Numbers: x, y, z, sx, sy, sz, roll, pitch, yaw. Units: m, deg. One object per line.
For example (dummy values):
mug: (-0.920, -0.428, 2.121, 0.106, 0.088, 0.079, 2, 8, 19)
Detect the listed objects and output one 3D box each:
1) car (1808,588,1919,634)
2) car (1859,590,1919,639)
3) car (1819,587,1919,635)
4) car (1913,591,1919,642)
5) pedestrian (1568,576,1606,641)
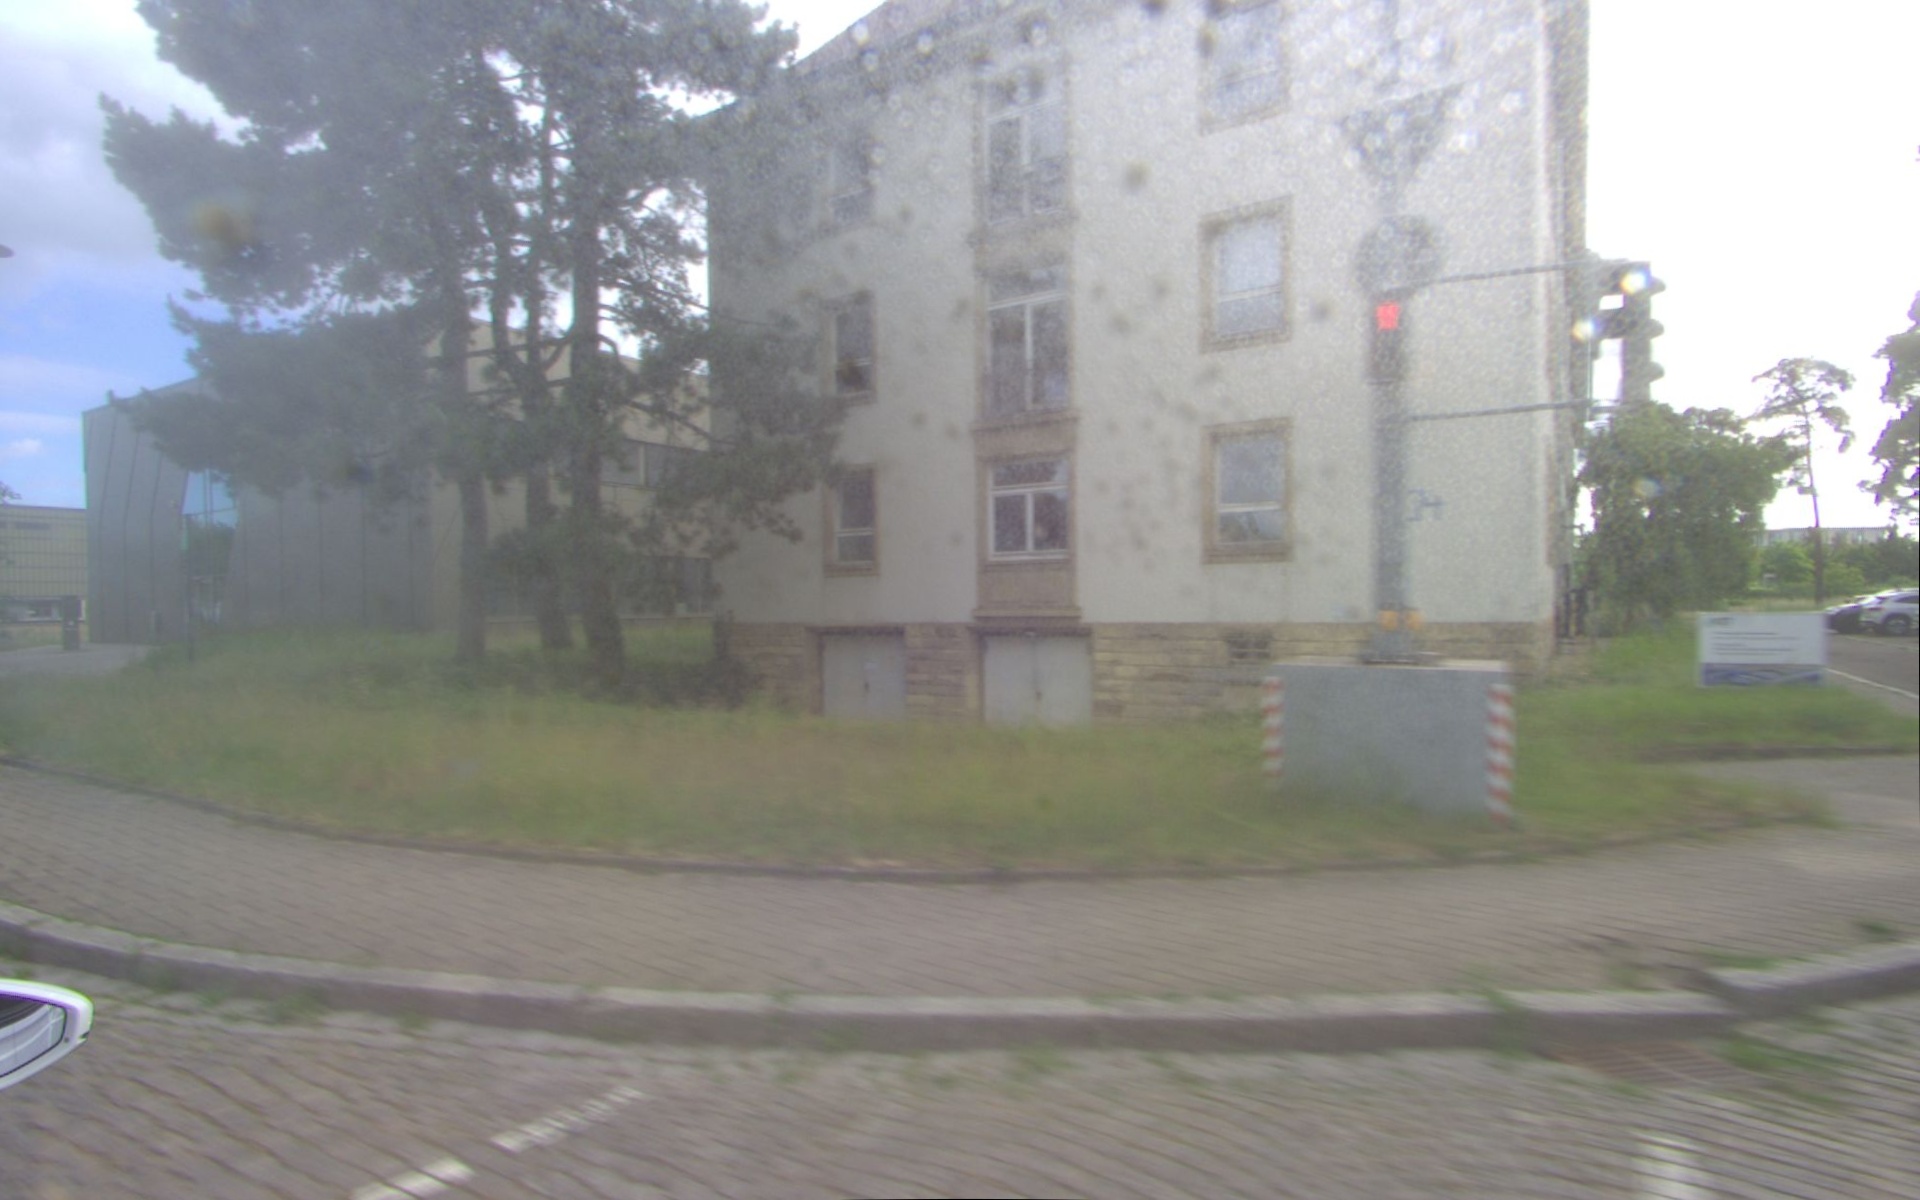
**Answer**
car: (37.757, 0.452, 41.339, 3.986, 1.823, 1.672, -1, 0, 32)
car: (35.354, 0.516, 36.194, 3.986, 1.741, 1.672, -1, 0, 32)
car: (36.431, 0.439, 39.212, 3.986, 1.823, 1.672, -1, 0, 32)
car: (32.638, 0.523, 31.236, 3.991, 1.642, 1.670, -1, 0, 36)
pedestrian: (17.876, 0.231, 28.557, 0.829, 1.805, 0.934, 0, 1, 38)
